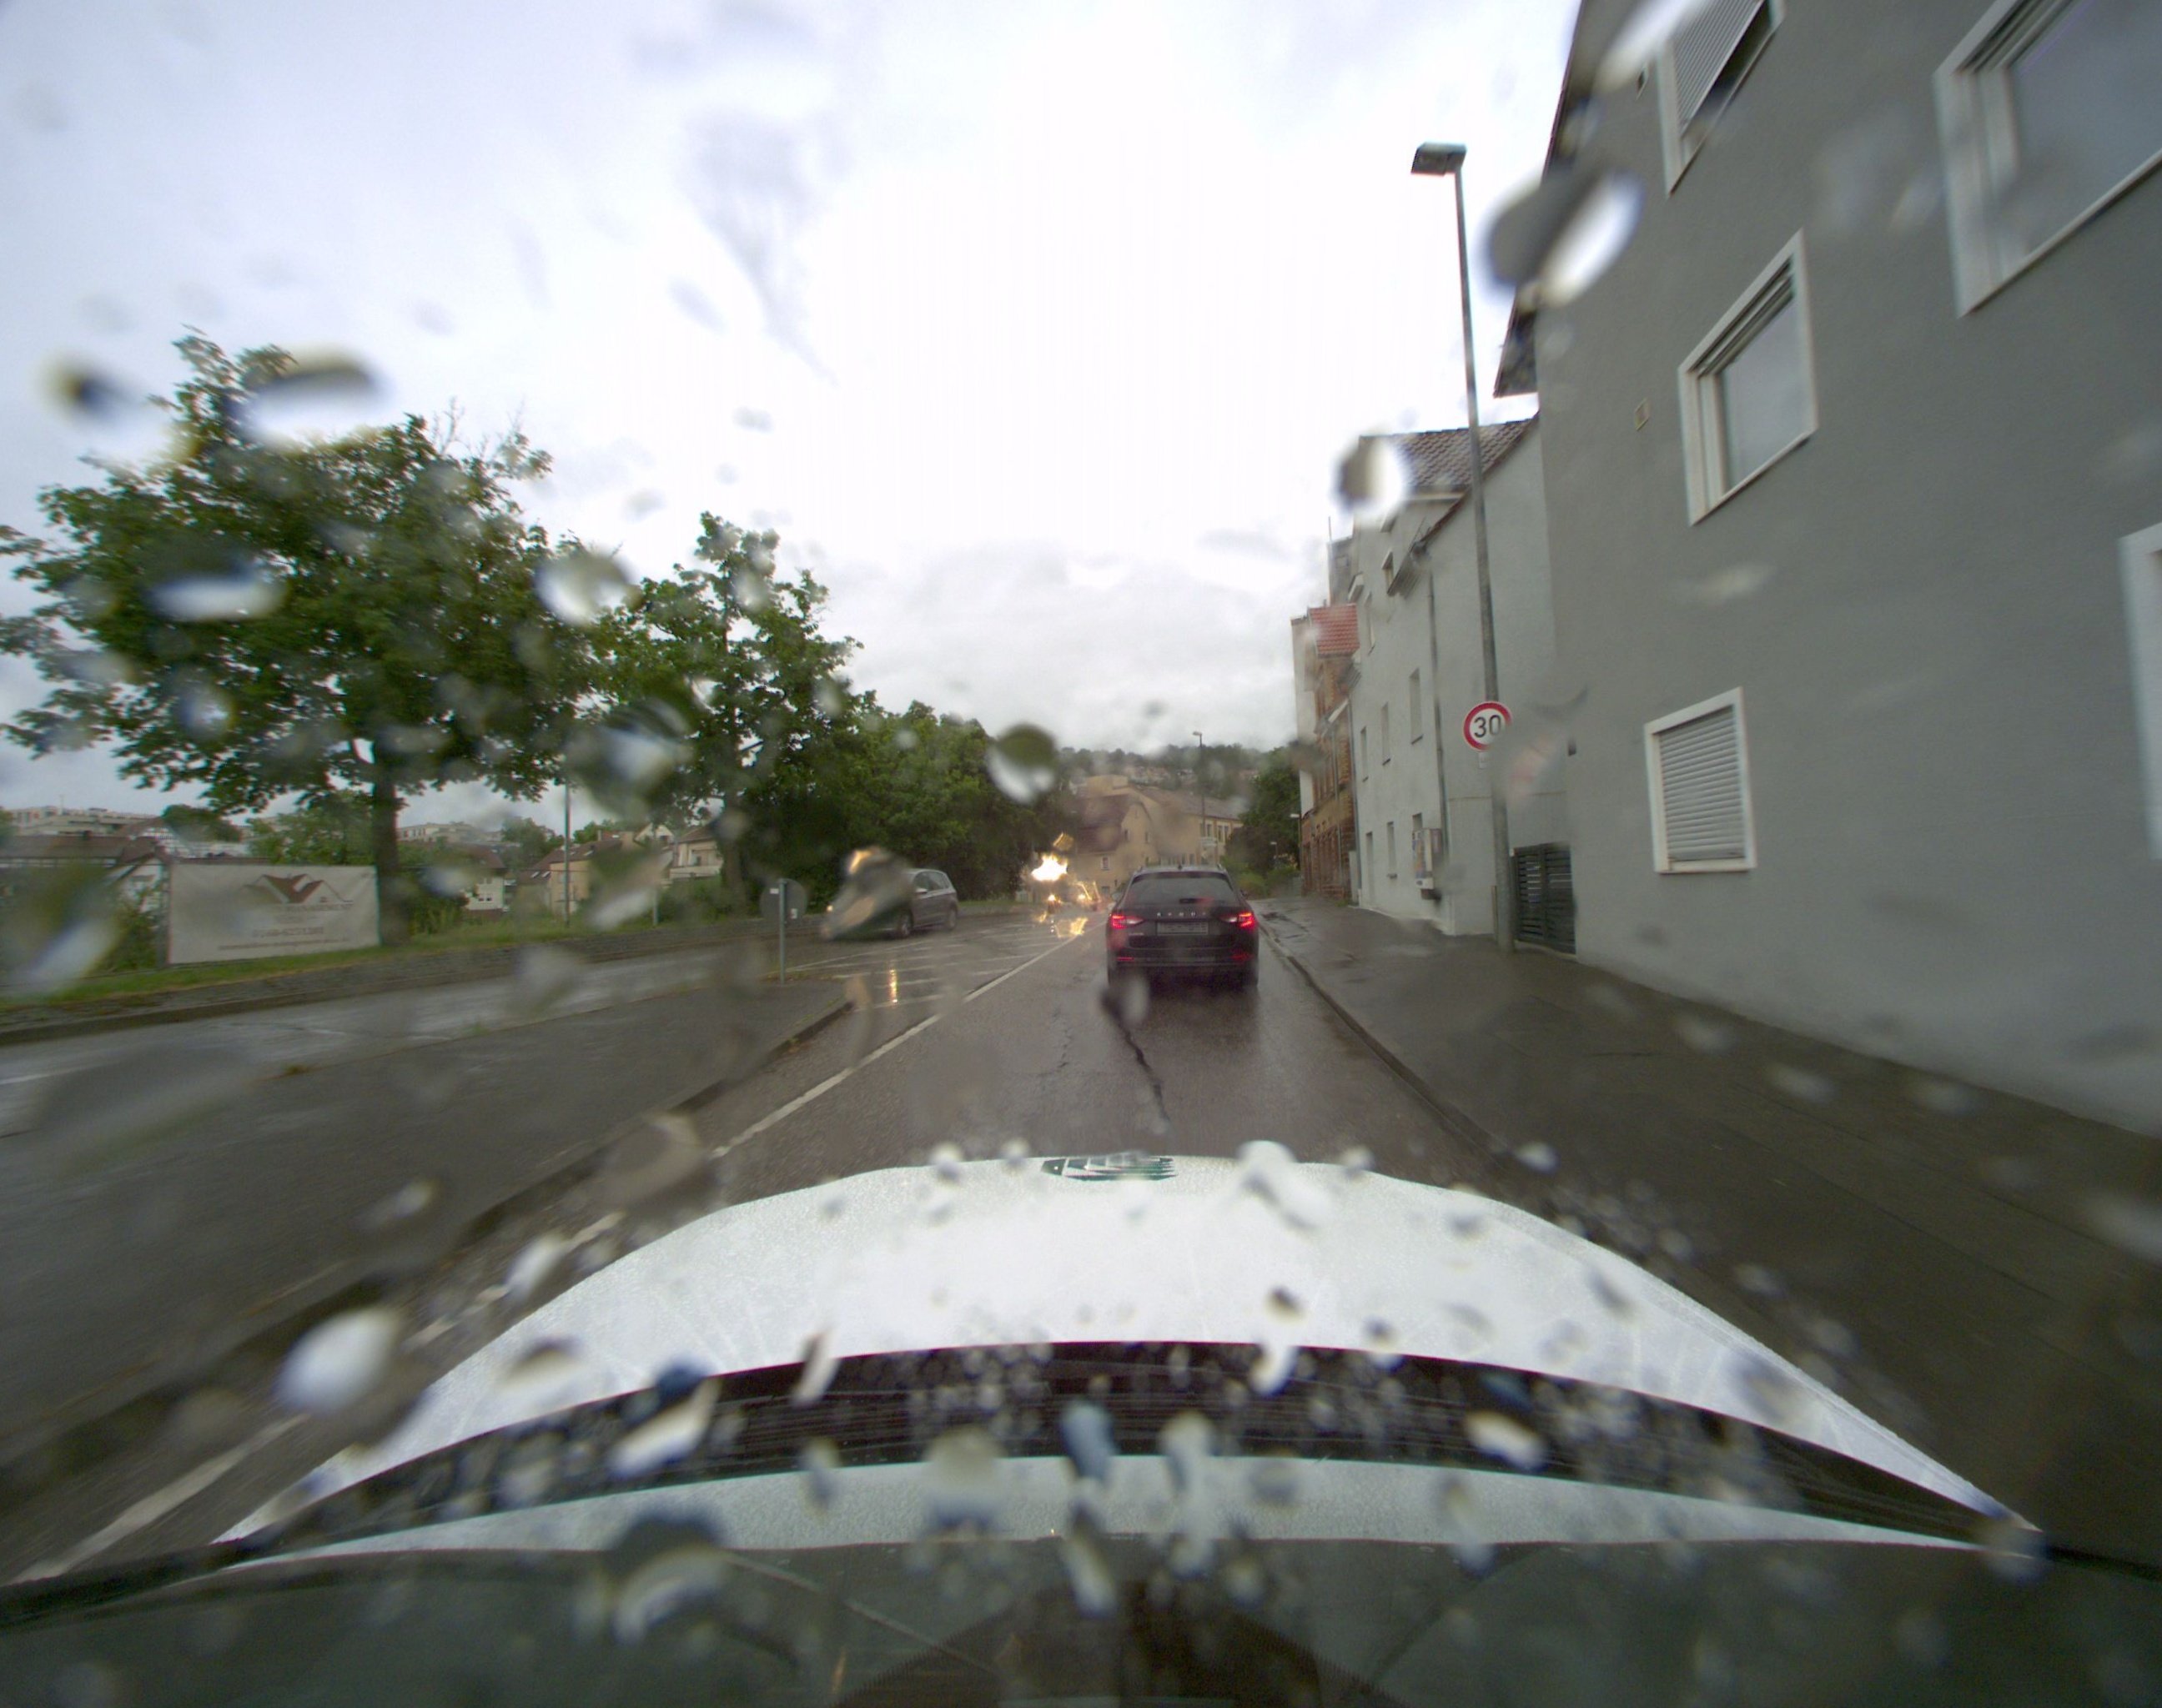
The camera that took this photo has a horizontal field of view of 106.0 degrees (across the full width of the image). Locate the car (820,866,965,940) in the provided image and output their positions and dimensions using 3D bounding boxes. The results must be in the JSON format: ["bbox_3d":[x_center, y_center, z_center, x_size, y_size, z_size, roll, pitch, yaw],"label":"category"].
[{"bbox_3d":[-4.331,1.082,19.368,1.632,1.552,4.169,-2,-1,13],"label":"car"}]

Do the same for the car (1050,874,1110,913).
[{"bbox_3d":[0.025,1.721,36.372,1.628,1.521,4.086,-2,-1,14],"label":"car"}]

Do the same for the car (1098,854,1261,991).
[{"bbox_3d":[1.313,0.763,11.096,1.773,1.483,4.253,-1,0,6],"label":"car"}]

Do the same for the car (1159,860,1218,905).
[{"bbox_3d":[3.730,1.017,28.120,1.808,1.360,3.997,-3,-3,8],"label":"car"}]

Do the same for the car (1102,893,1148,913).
[{"bbox_3d":[3.998,4.519,74.793,3.762,1.453,1.701,-4,-4,-18],"label":"car"}]
